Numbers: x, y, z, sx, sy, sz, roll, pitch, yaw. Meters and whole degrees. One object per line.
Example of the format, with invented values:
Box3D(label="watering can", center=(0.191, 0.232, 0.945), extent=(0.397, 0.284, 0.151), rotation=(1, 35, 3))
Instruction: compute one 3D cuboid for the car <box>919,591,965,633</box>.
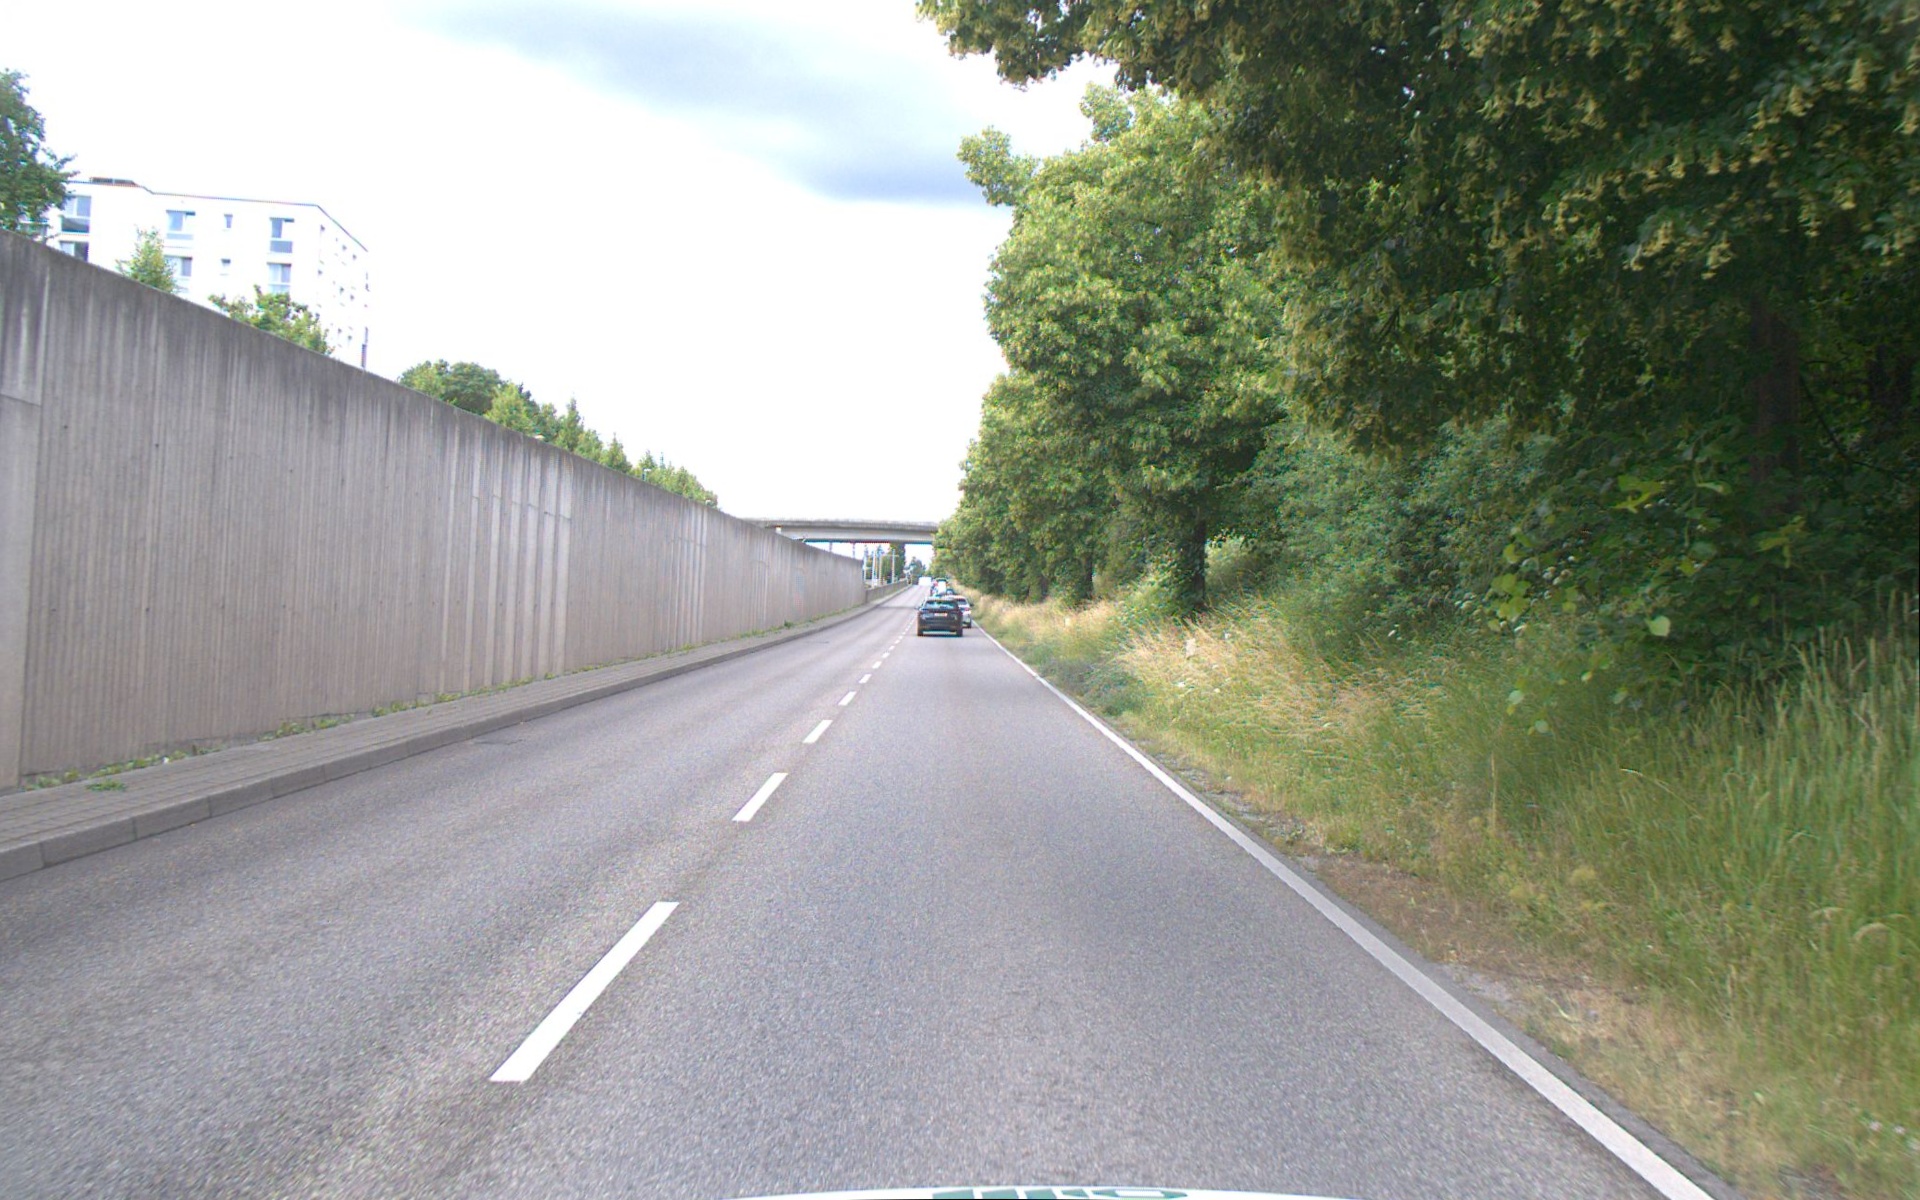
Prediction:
Box3D(label="car", center=(-0.712, 0.448, 63.543), extent=(1.719, 1.550, 4.035), rotation=(0, 0, -1))

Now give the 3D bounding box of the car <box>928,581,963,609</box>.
Box3D(label="car", center=(-0.893, -0.286, 98.794), extent=(1.829, 1.516, 4.255), rotation=(4, 0, -3))

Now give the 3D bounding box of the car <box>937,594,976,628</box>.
Box3D(label="car", center=(-0.185, 0.529, 78.556), extent=(1.719, 1.550, 4.035), rotation=(-1, -1, -2))
